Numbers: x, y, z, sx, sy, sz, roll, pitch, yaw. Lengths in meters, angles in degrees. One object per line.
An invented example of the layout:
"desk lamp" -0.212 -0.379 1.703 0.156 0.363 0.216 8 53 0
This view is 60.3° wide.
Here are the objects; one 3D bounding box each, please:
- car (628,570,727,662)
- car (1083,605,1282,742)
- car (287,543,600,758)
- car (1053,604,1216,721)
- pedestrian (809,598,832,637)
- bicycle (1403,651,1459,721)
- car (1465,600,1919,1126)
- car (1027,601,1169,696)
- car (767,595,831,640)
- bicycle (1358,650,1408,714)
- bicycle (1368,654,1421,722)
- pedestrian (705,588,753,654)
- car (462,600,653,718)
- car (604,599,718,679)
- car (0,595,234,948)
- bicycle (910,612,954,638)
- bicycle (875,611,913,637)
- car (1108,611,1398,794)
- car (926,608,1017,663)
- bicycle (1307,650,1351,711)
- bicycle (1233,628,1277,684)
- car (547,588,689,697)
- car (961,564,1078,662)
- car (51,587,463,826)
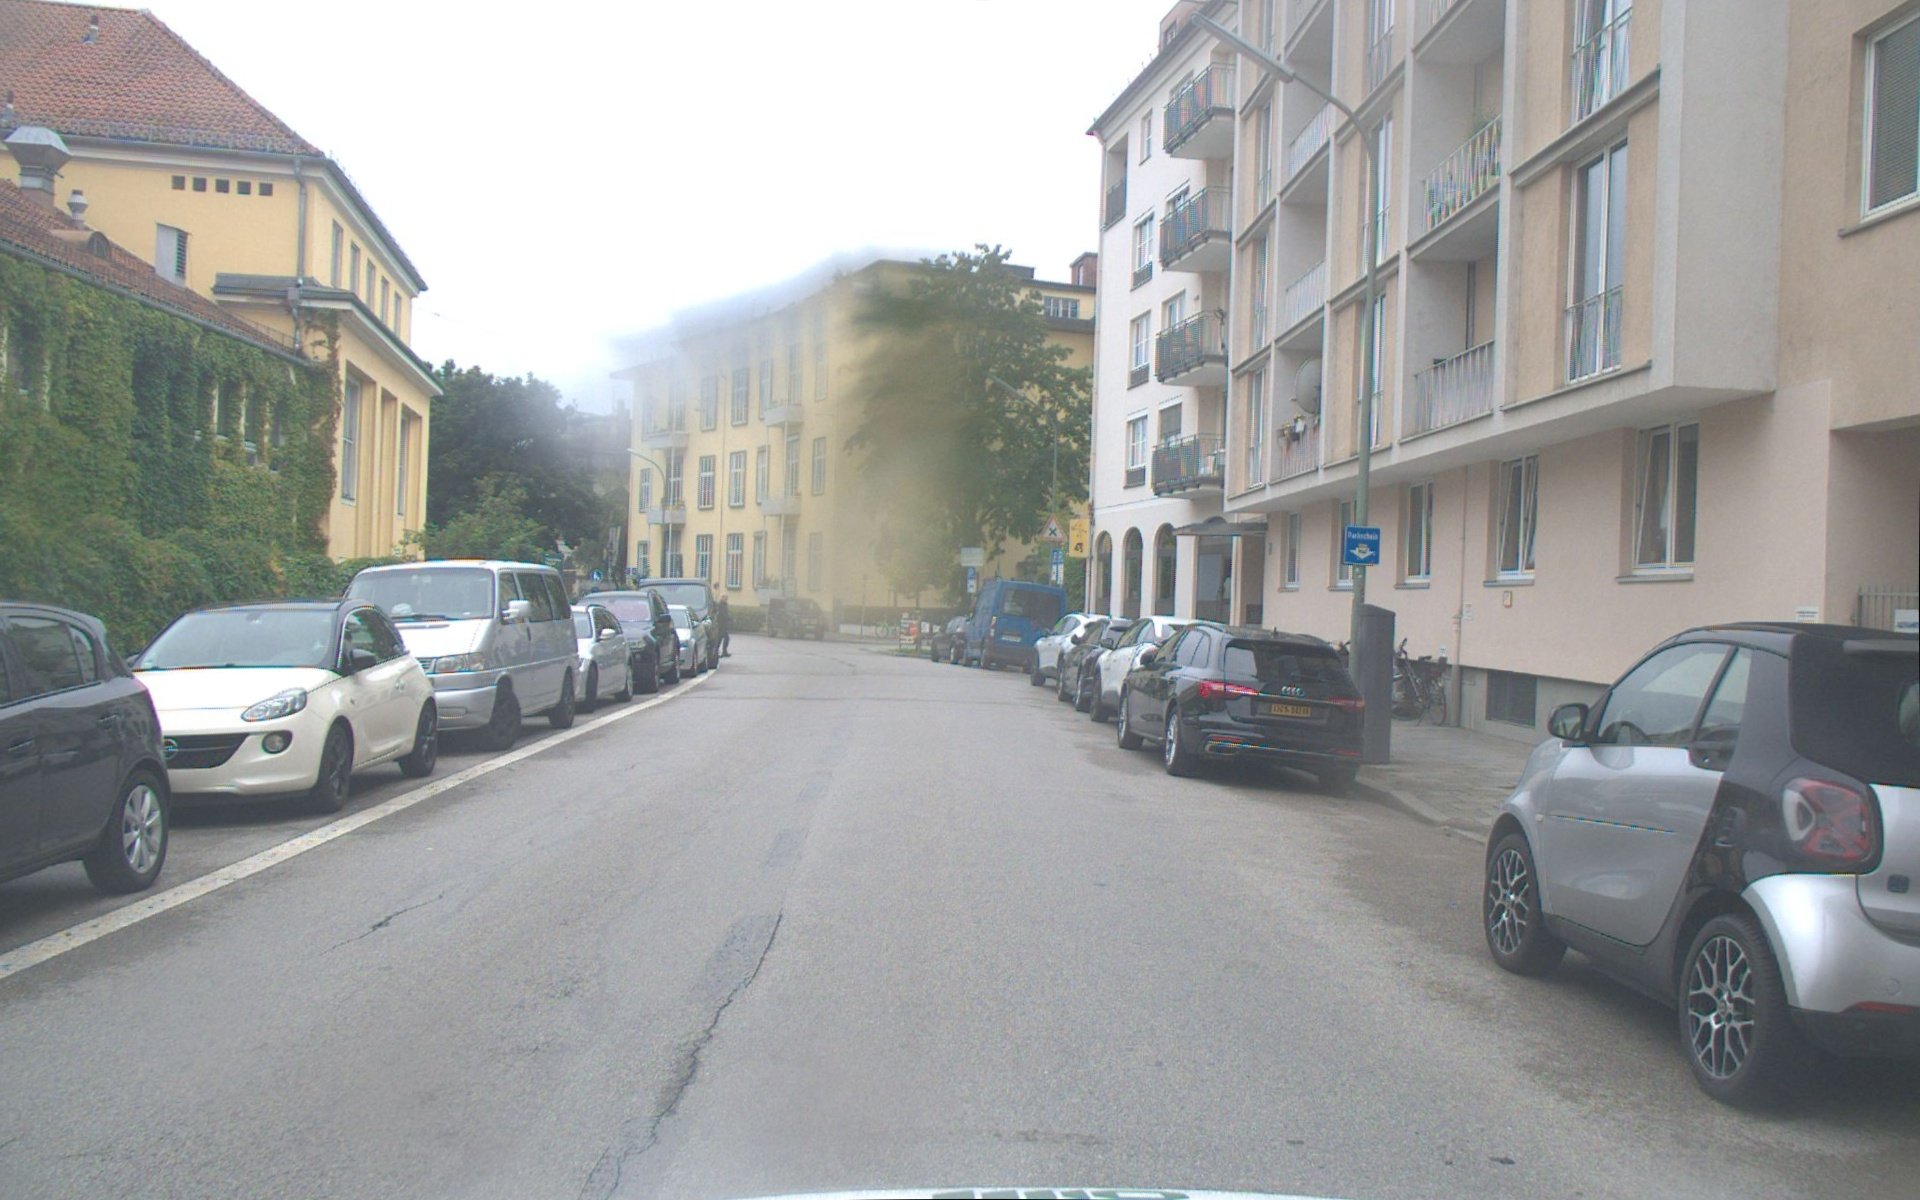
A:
"car" -6.524 0.359 38.644 2.034 1.998 5.341 0 0 -7
"car" 2.839 0.889 22.061 1.661 1.515 4.576 4 0 -4
"car" -5.232 0.466 17.483 1.849 1.922 4.773 -1 0 -1
"car" 2.732 0.929 27.092 1.842 1.548 5.161 5 0 -2
"pedestrian" -6.802 0.831 80.510 0.862 1.855 0.793 2 0 -23
"bicycle" 6.835 1.235 24.054 0.370 0.921 1.391 2 0 -1
"car" 3.259 0.823 6.334 1.617 1.521 2.880 4 0 -2
"car" 2.608 0.892 32.421 1.752 1.560 4.640 5 0 -7
"car" -7.844 0.822 80.259 1.739 1.906 4.347 6 -1 -23
"bicycle" 6.593 1.269 25.818 0.370 0.921 1.391 2 0 -1
"bicycle" 6.400 1.288 24.409 0.370 0.921 1.391 2 0 -1
"pedestrian" -6.531 0.595 46.748 0.918 1.832 0.951 1 0 41
"car" -5.544 0.750 23.360 1.620 1.439 4.769 -2 0 -1
"car" -5.957 0.735 33.414 1.661 1.417 4.498 -3 0 -3
"car" -4.775 0.727 7.130 1.571 1.455 4.249 -1 0 -3
"bicycle" -1.350 1.208 80.284 2.023 1.222 0.596 2 0 12
"bicycle" -3.246 1.189 81.394 1.889 1.222 0.593 2 0 35
"car" 2.825 0.927 17.116 1.711 1.412 4.950 5 0 -4
"car" 0.308 1.054 50.168 1.649 1.413 4.290 6 -1 -14
"bicycle" 5.994 1.300 26.890 0.370 0.921 1.391 1 0 -1
"bicycle" 6.377 1.207 35.833 0.446 1.130 1.852 2 0 -5
"car" -5.718 0.663 28.115 1.663 1.671 4.487 -1 0 -3
"car" 1.496 0.412 44.073 2.041 2.272 5.234 6 -3 -8
"car" -5.004 0.660 12.377 1.559 1.466 4.016 -1 0 -4
